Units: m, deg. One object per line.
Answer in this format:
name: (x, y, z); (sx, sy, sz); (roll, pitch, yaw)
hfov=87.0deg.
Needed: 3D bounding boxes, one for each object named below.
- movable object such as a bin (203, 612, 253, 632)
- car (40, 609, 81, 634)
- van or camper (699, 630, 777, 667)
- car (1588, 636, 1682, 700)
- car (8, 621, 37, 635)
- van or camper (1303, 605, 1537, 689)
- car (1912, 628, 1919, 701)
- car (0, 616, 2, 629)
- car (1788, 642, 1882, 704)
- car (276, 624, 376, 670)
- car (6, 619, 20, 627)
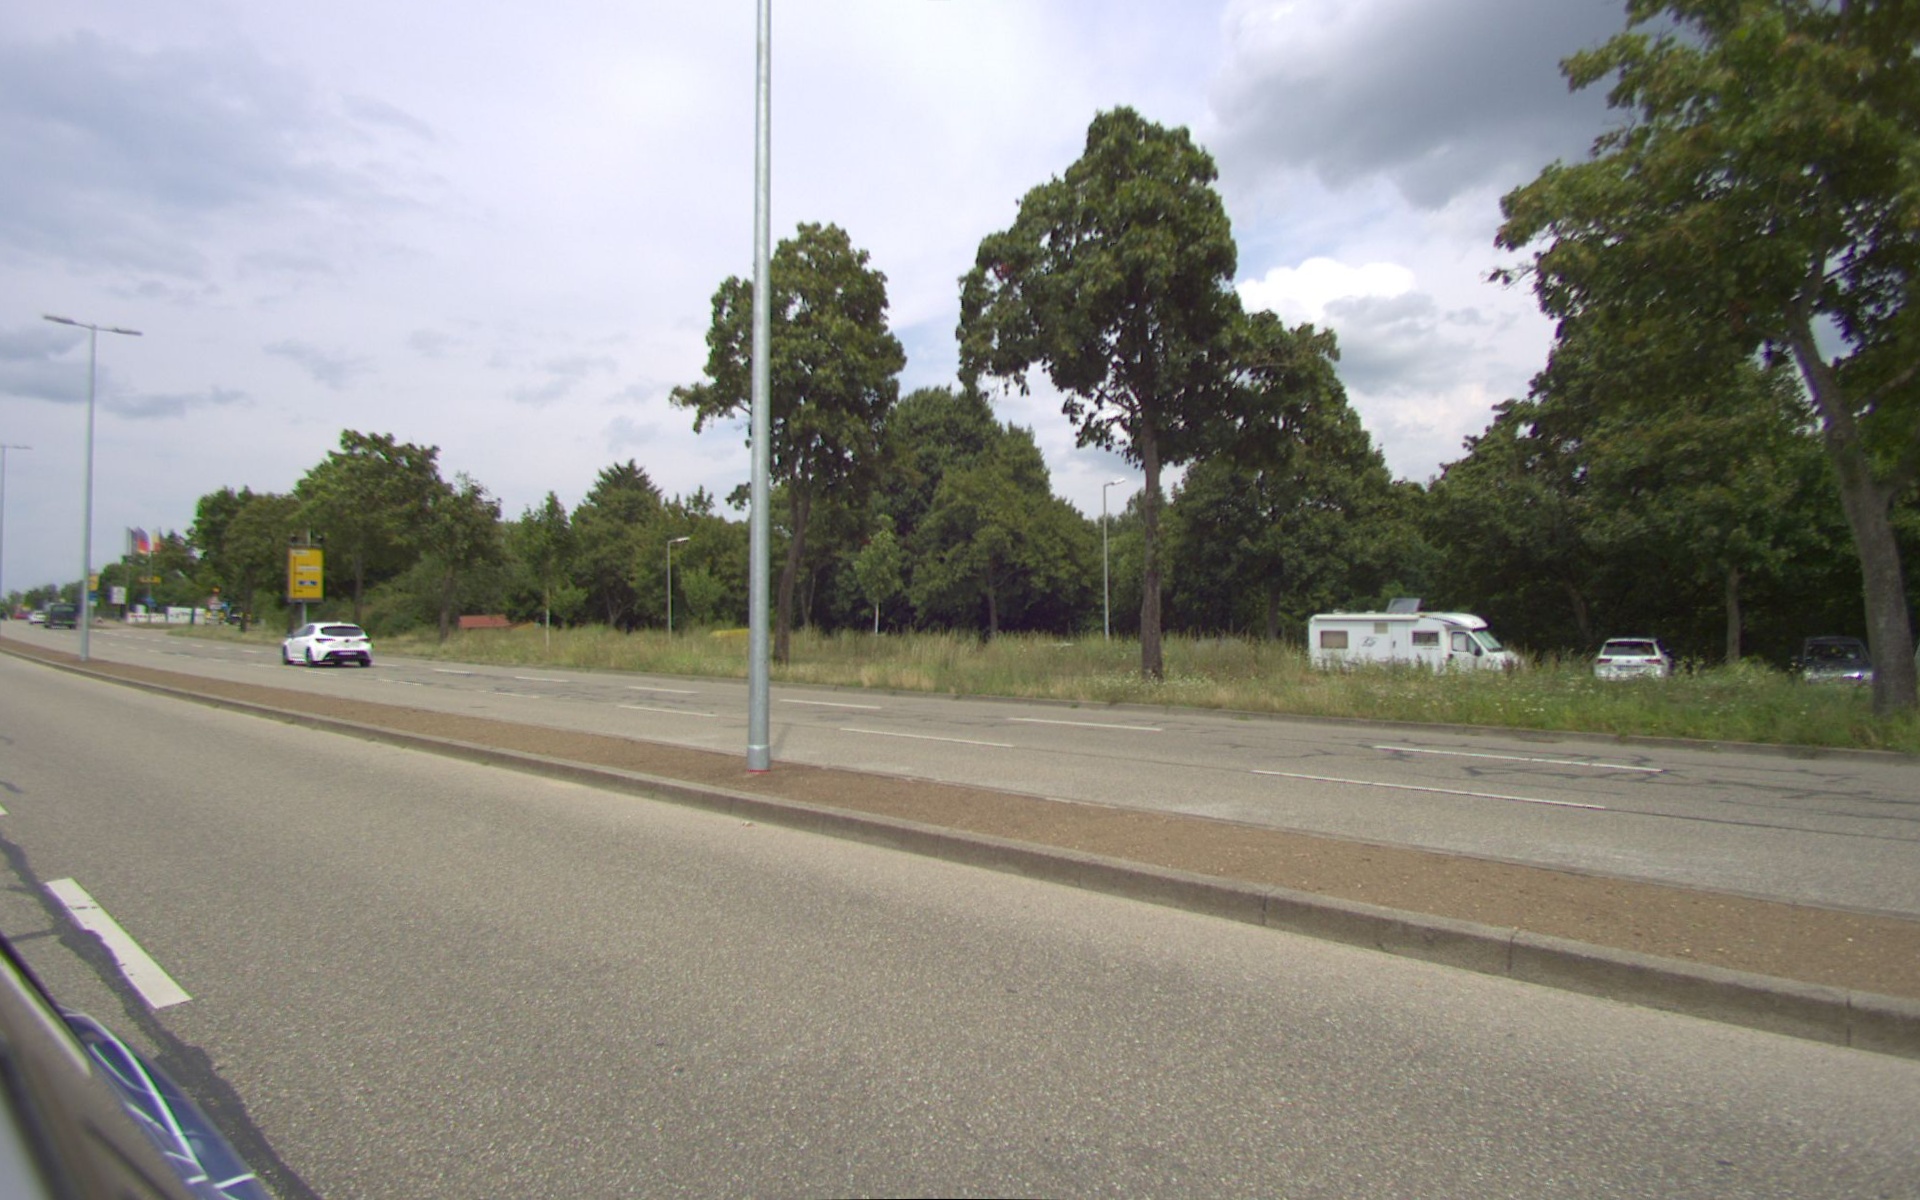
movable object such as a bin: (-90.465, 2.673, 125.095); (1.994, 2.415, 4.541); (-2, -2, 33)
car: (-81.401, 1.989, 91.560); (6.001, 2.218, 2.073); (-2, -3, 42)
van or camper: (-13.996, 3.017, 63.896); (4.298, 2.029, 2.004); (-1, 0, -39)
car: (20.246, 1.974, 30.290); (1.885, 1.729, 3.946); (-2, -2, 40)
car: (-101.282, 3.032, 109.325); (4.689, 1.442, 1.971); (-2, -3, 44)
van or camper: (15.314, 1.561, 34.066); (6.718, 2.560, 2.445); (-2, -2, 42)
car: (25.962, 1.670, 25.998); (1.938, 1.901, 3.946); (-2, -2, 41)
car: (-134.454, 3.111, 140.307); (4.796, 1.825, 1.972); (-3, -3, 42)
car: (23.776, 1.924, 27.558); (1.795, 1.497, 3.946); (-2, -2, 41)
car: (-20.922, 1.552, 33.339); (4.158, 1.431, 1.698); (-3, -4, 42)
car: (-174.029, 4.188, 186.017); (1.734, 1.332, 4.349); (1, -3, -44)
